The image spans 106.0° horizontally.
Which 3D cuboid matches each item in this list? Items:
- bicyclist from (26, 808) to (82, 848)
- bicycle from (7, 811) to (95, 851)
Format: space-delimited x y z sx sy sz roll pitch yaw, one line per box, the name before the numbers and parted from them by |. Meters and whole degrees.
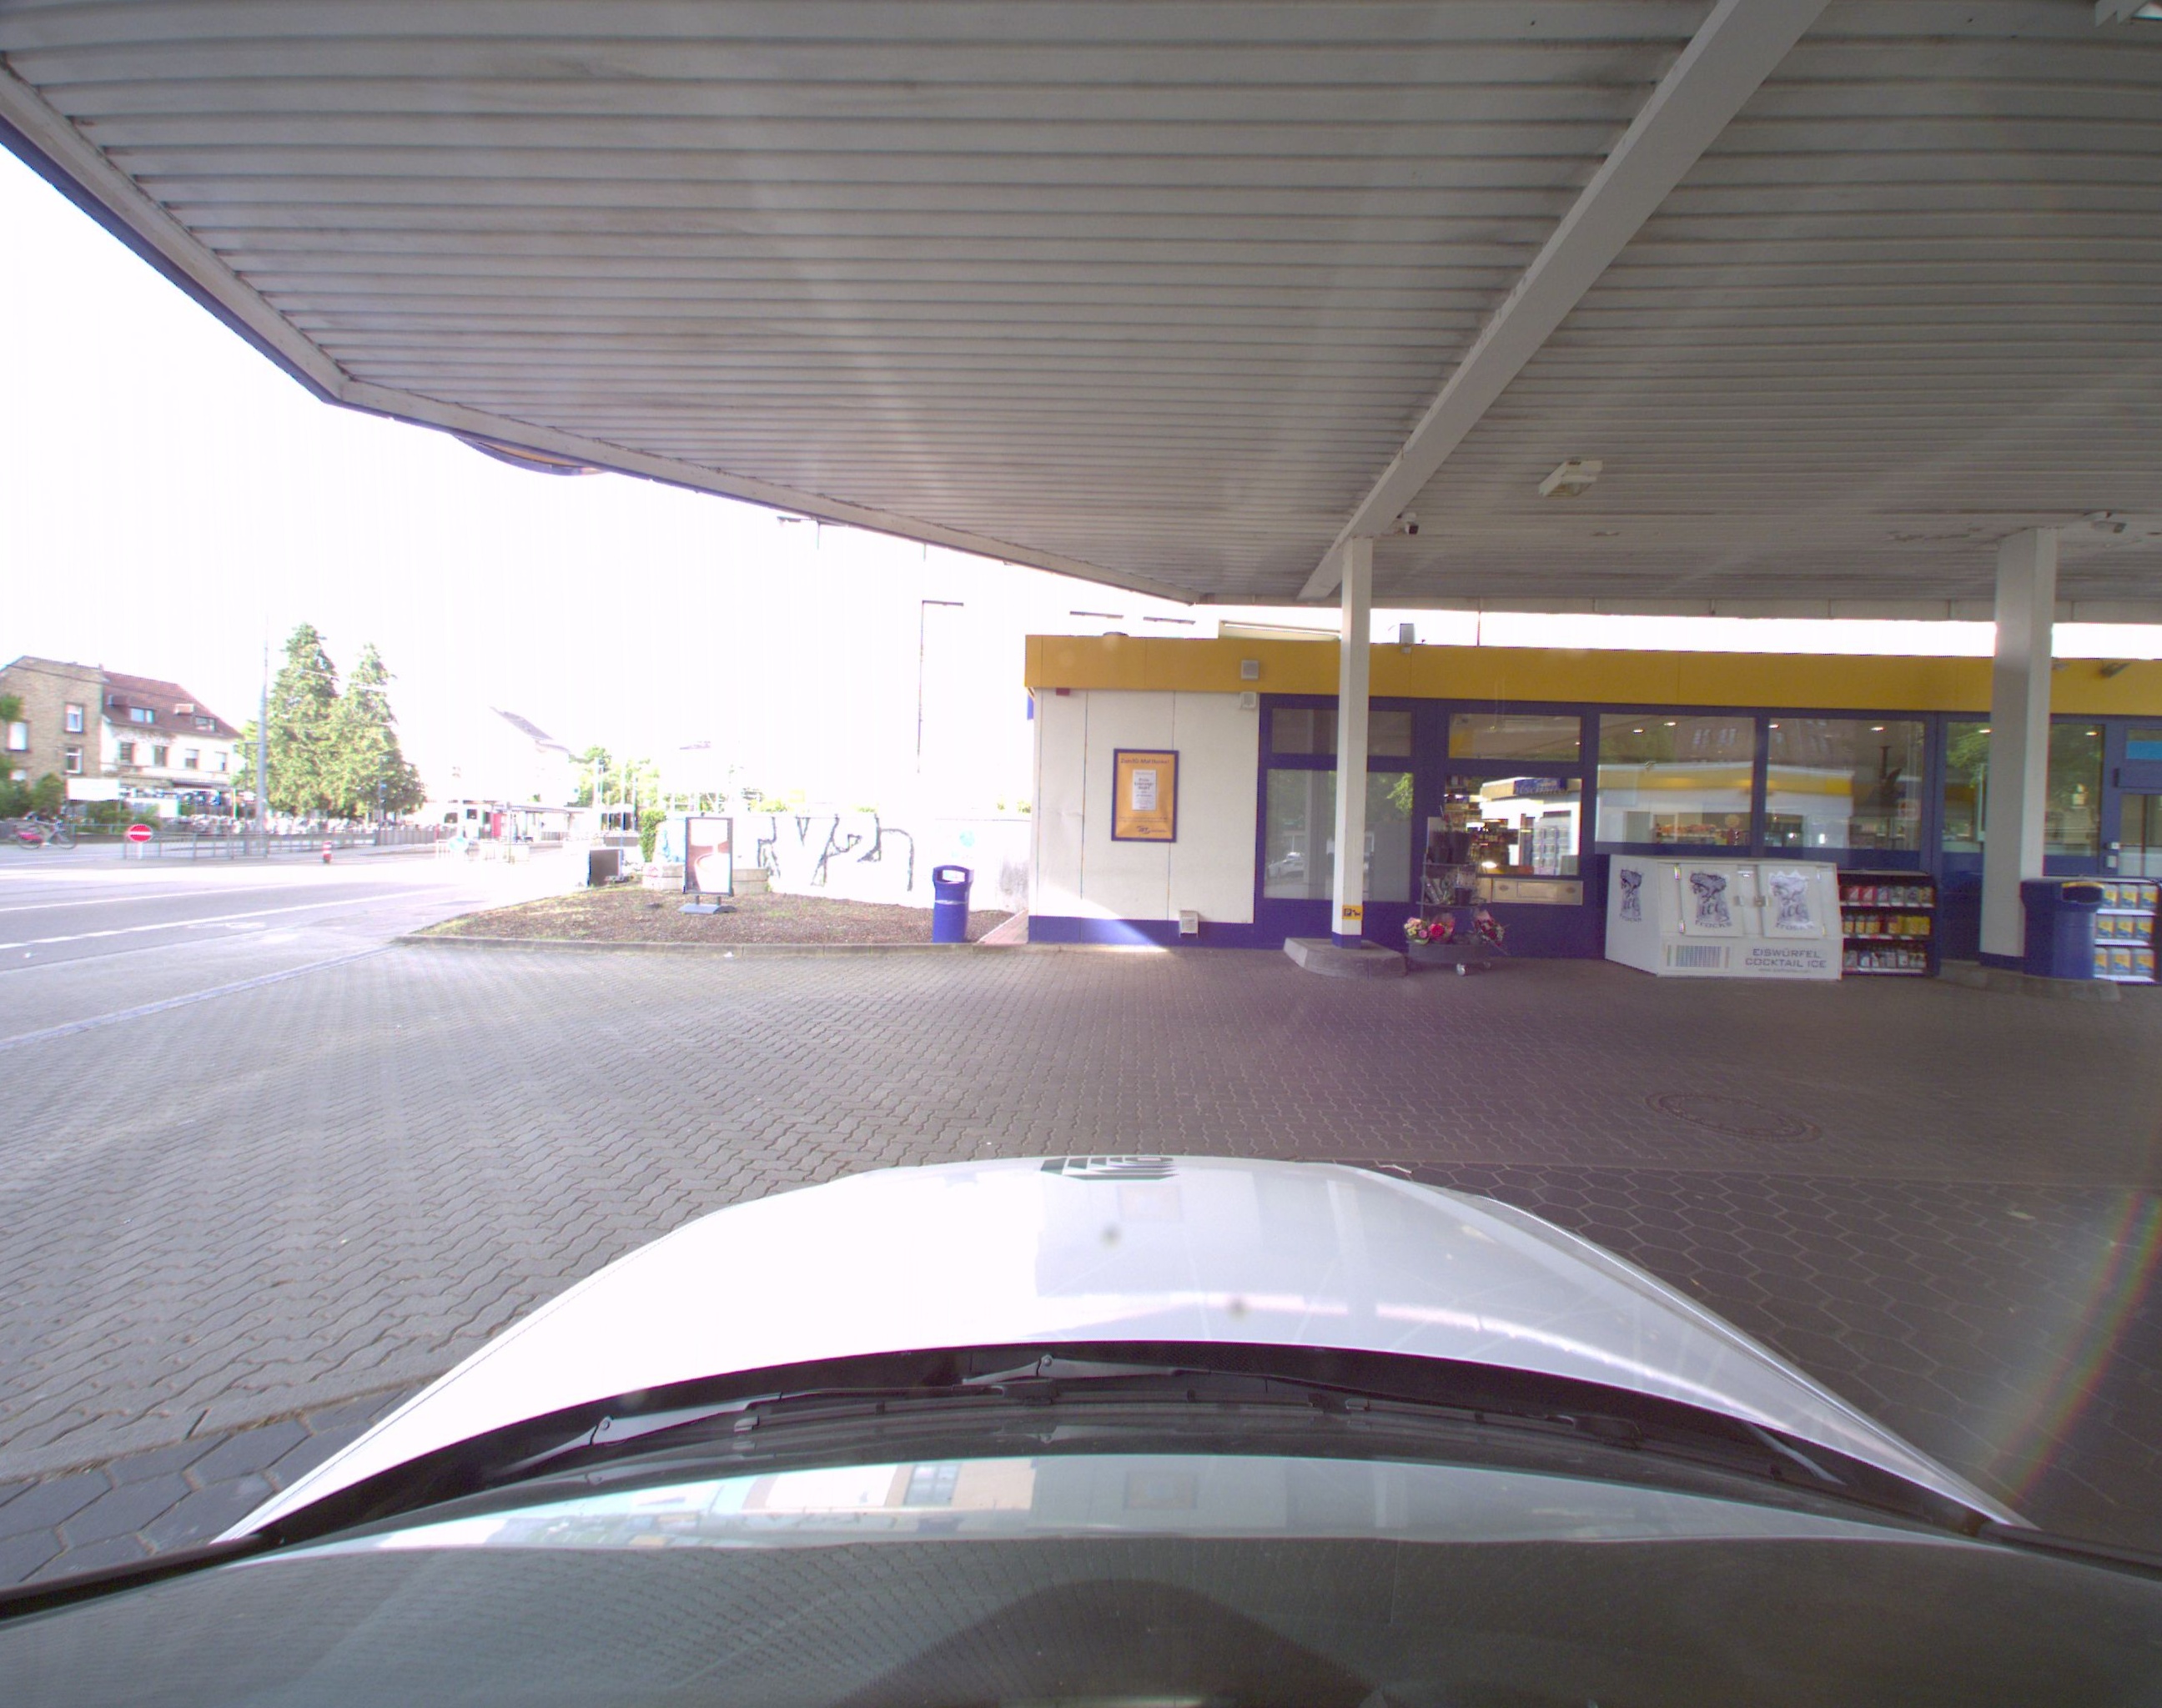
bicyclist | -41.227 -1.038 32.695 0.781 1.492 1.099 4 0 11
bicycle | -41.244 -0.905 32.645 0.781 1.492 1.998 4 0 12
